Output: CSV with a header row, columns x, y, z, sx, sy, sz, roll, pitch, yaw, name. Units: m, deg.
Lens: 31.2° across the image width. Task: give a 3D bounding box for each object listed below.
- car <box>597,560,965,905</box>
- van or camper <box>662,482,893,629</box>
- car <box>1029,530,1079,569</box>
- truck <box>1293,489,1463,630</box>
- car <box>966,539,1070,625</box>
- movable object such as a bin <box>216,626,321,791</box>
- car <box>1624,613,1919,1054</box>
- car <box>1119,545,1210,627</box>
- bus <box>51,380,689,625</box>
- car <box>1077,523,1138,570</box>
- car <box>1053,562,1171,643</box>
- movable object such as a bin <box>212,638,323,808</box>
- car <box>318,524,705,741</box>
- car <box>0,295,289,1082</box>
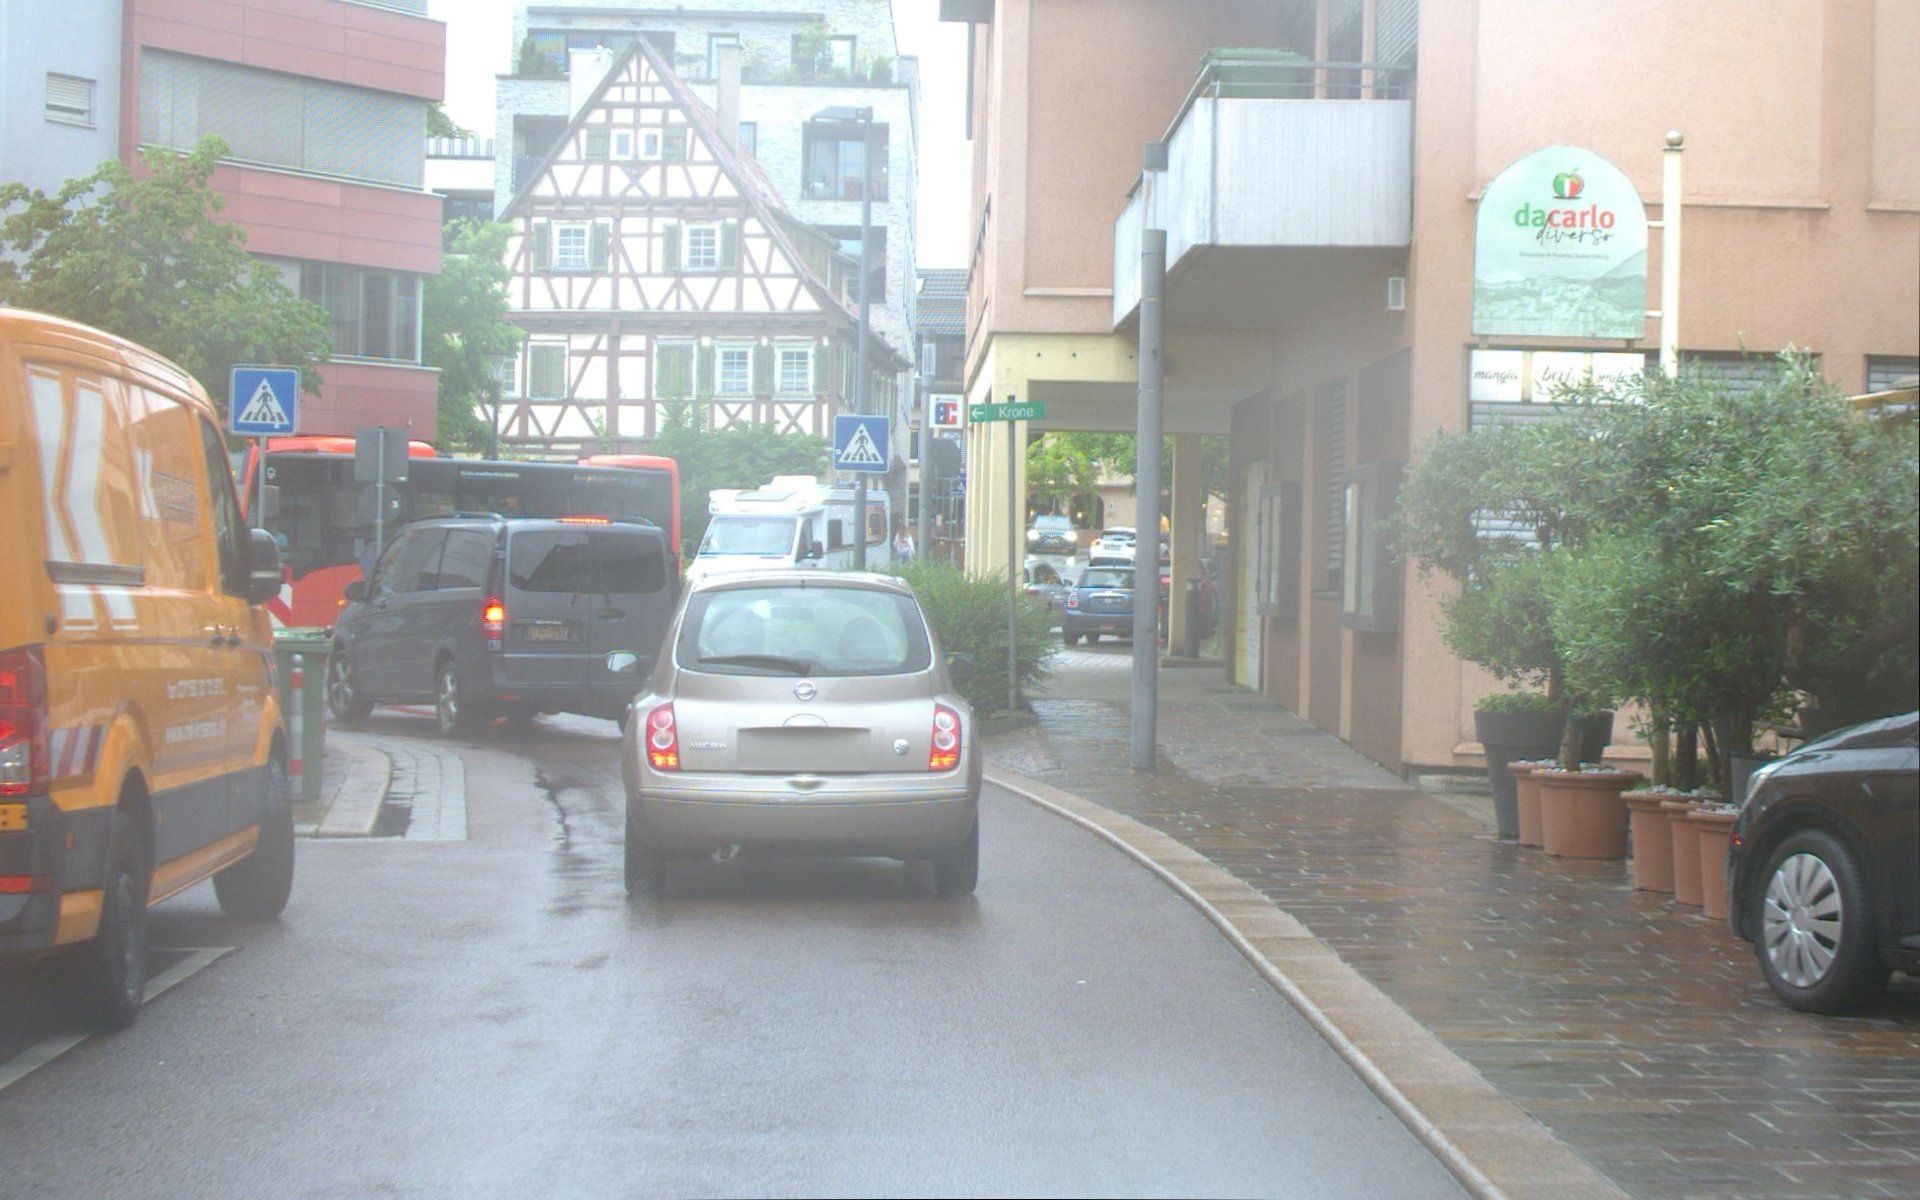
x,y,z,sx,sy,sz,roll,pitch,yaw,name
-0.962,0.572,16.886,1.522,1.466,3.342,1,1,-7,car
-3.339,-0.818,64.868,2.439,2.577,6.747,2,1,14,van or camper
3.678,-1.975,134.931,1.896,1.503,3.909,1,1,1,car
5.605,-0.544,46.553,1.762,1.802,4.000,1,1,0,truck
1.138,-0.356,65.925,1.897,1.568,4.000,1,1,2,car
-4.485,0.696,22.301,0.656,1.033,0.610,0,1,-12,movable object such as a bin
3.975,0.758,10.722,1.733,1.352,3.937,1,1,-25,car
3.971,-0.290,66.359,1.624,1.495,3.999,-2,1,5,car
-8.055,-1.325,49.024,2.817,3.078,10.590,3,2,29,bus
4.784,-1.731,112.101,1.896,1.503,3.909,1,1,1,car
2.745,0.023,61.458,1.537,1.357,3.371,2,1,12,car
-4.335,0.766,21.511,0.656,1.033,0.610,1,0,-12,movable object such as a bin
-4.107,0.250,30.764,1.946,1.775,4.727,1,0,-27,car
-3.783,0.209,12.597,1.993,2.232,5.862,1,1,-5,car
